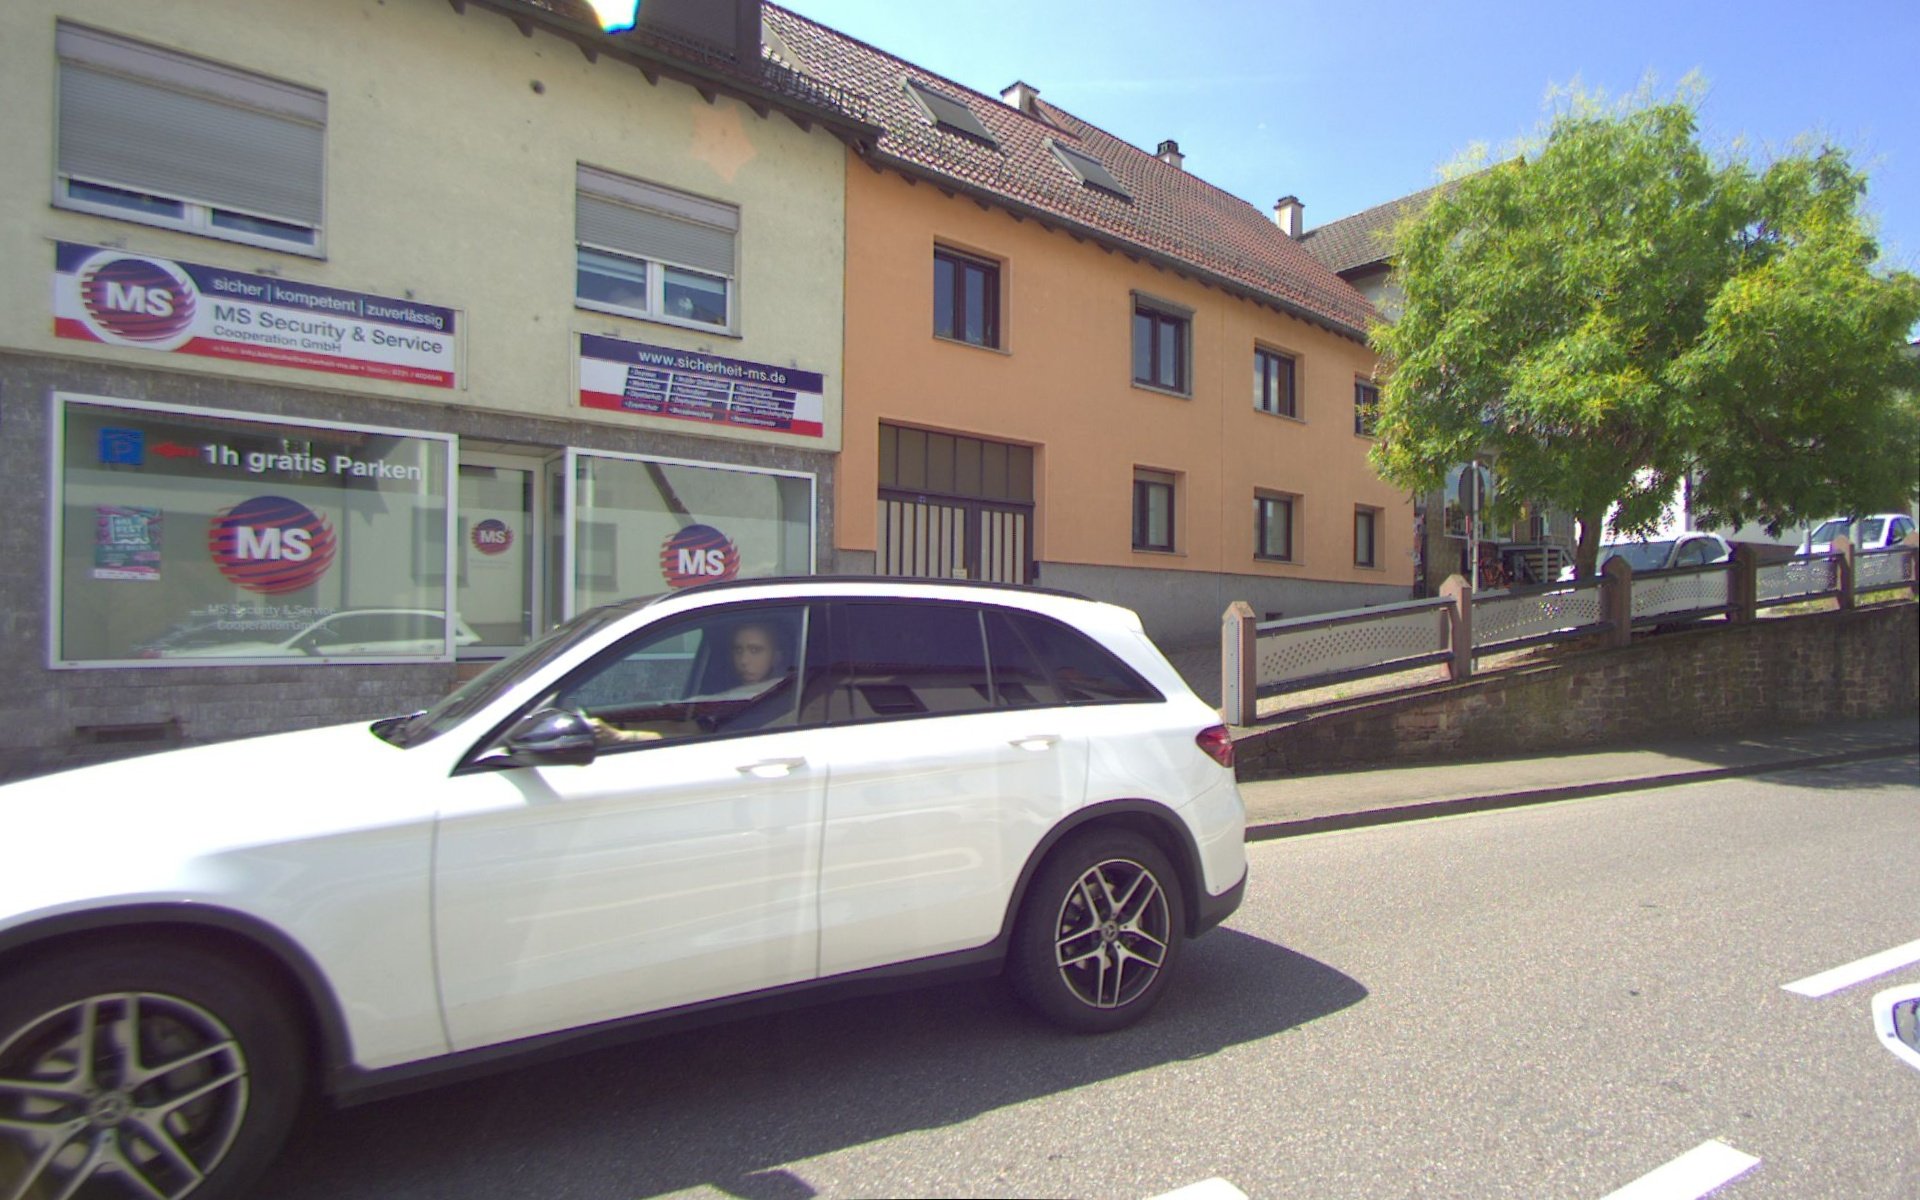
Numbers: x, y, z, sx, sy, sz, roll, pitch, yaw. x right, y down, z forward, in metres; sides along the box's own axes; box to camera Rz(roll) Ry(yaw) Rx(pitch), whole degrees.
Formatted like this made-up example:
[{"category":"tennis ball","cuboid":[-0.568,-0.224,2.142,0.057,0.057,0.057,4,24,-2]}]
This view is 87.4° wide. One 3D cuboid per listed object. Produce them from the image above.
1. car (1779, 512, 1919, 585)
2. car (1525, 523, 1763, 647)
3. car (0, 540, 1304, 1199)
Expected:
[{"category":"car","cuboid":[20.287,-1.182,22.758,3.812,1.380,1.568,-6,3,-32]},{"category":"car","cuboid":[10.736,-0.283,15.709,3.812,1.564,1.684,-6,3,-32]},{"category":"car","cuboid":[-0.962,0.724,3.772,4.392,1.601,1.834,1,-2,-29]}]
